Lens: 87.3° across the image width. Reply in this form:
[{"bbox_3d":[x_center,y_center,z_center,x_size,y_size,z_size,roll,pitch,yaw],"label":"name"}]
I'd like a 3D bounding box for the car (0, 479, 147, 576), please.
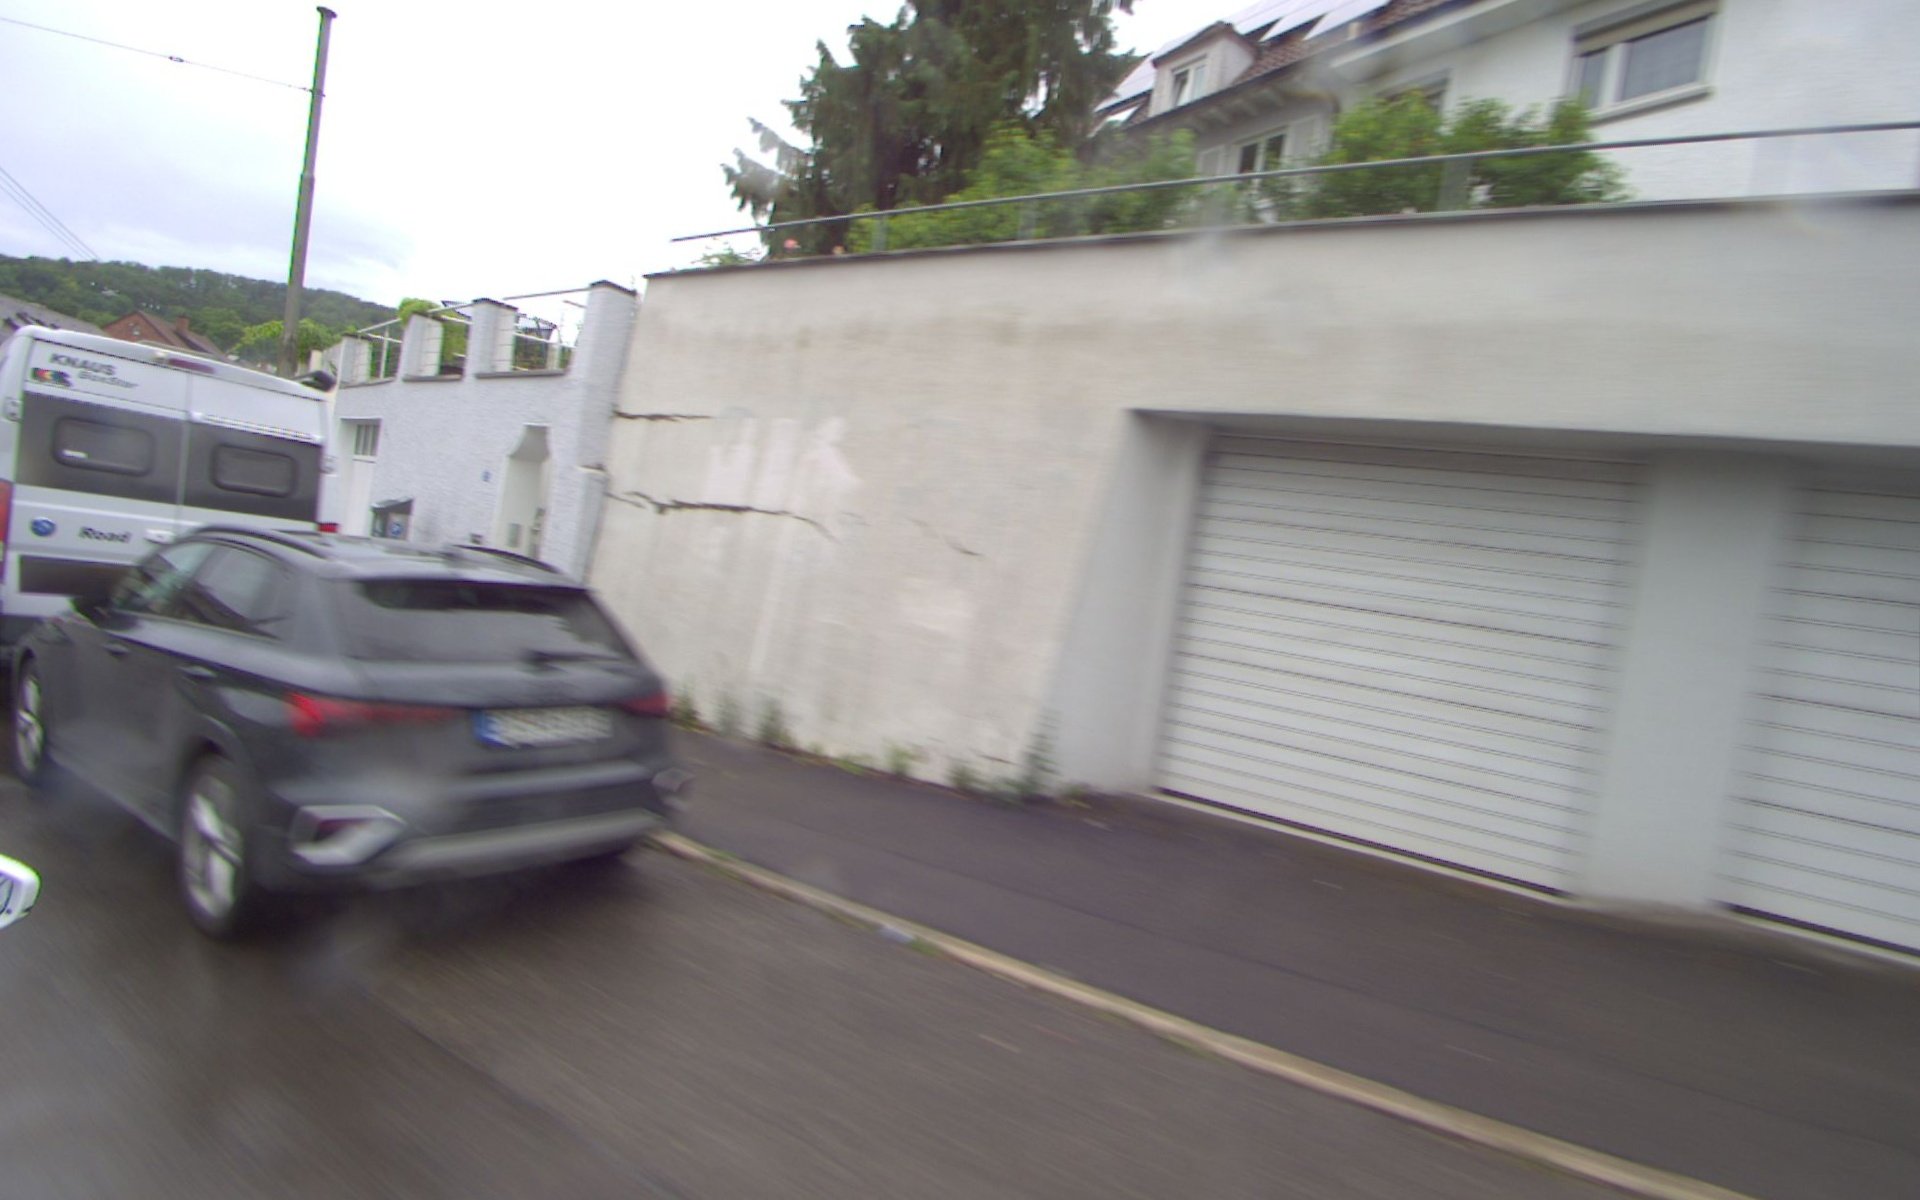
[{"bbox_3d":[-17.572,-1.424,19.849,1.667,1.501,4.166,9,-1,-31],"label":"car"}]

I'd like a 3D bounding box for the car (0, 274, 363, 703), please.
[{"bbox_3d":[-7.315,-0.837,8.557,5.541,2.575,2.095,7,2,41],"label":"car"}]

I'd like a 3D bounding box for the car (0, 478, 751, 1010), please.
[{"bbox_3d":[-3.158,0.348,5.006,4.119,1.515,1.752,7,2,37],"label":"car"}]
